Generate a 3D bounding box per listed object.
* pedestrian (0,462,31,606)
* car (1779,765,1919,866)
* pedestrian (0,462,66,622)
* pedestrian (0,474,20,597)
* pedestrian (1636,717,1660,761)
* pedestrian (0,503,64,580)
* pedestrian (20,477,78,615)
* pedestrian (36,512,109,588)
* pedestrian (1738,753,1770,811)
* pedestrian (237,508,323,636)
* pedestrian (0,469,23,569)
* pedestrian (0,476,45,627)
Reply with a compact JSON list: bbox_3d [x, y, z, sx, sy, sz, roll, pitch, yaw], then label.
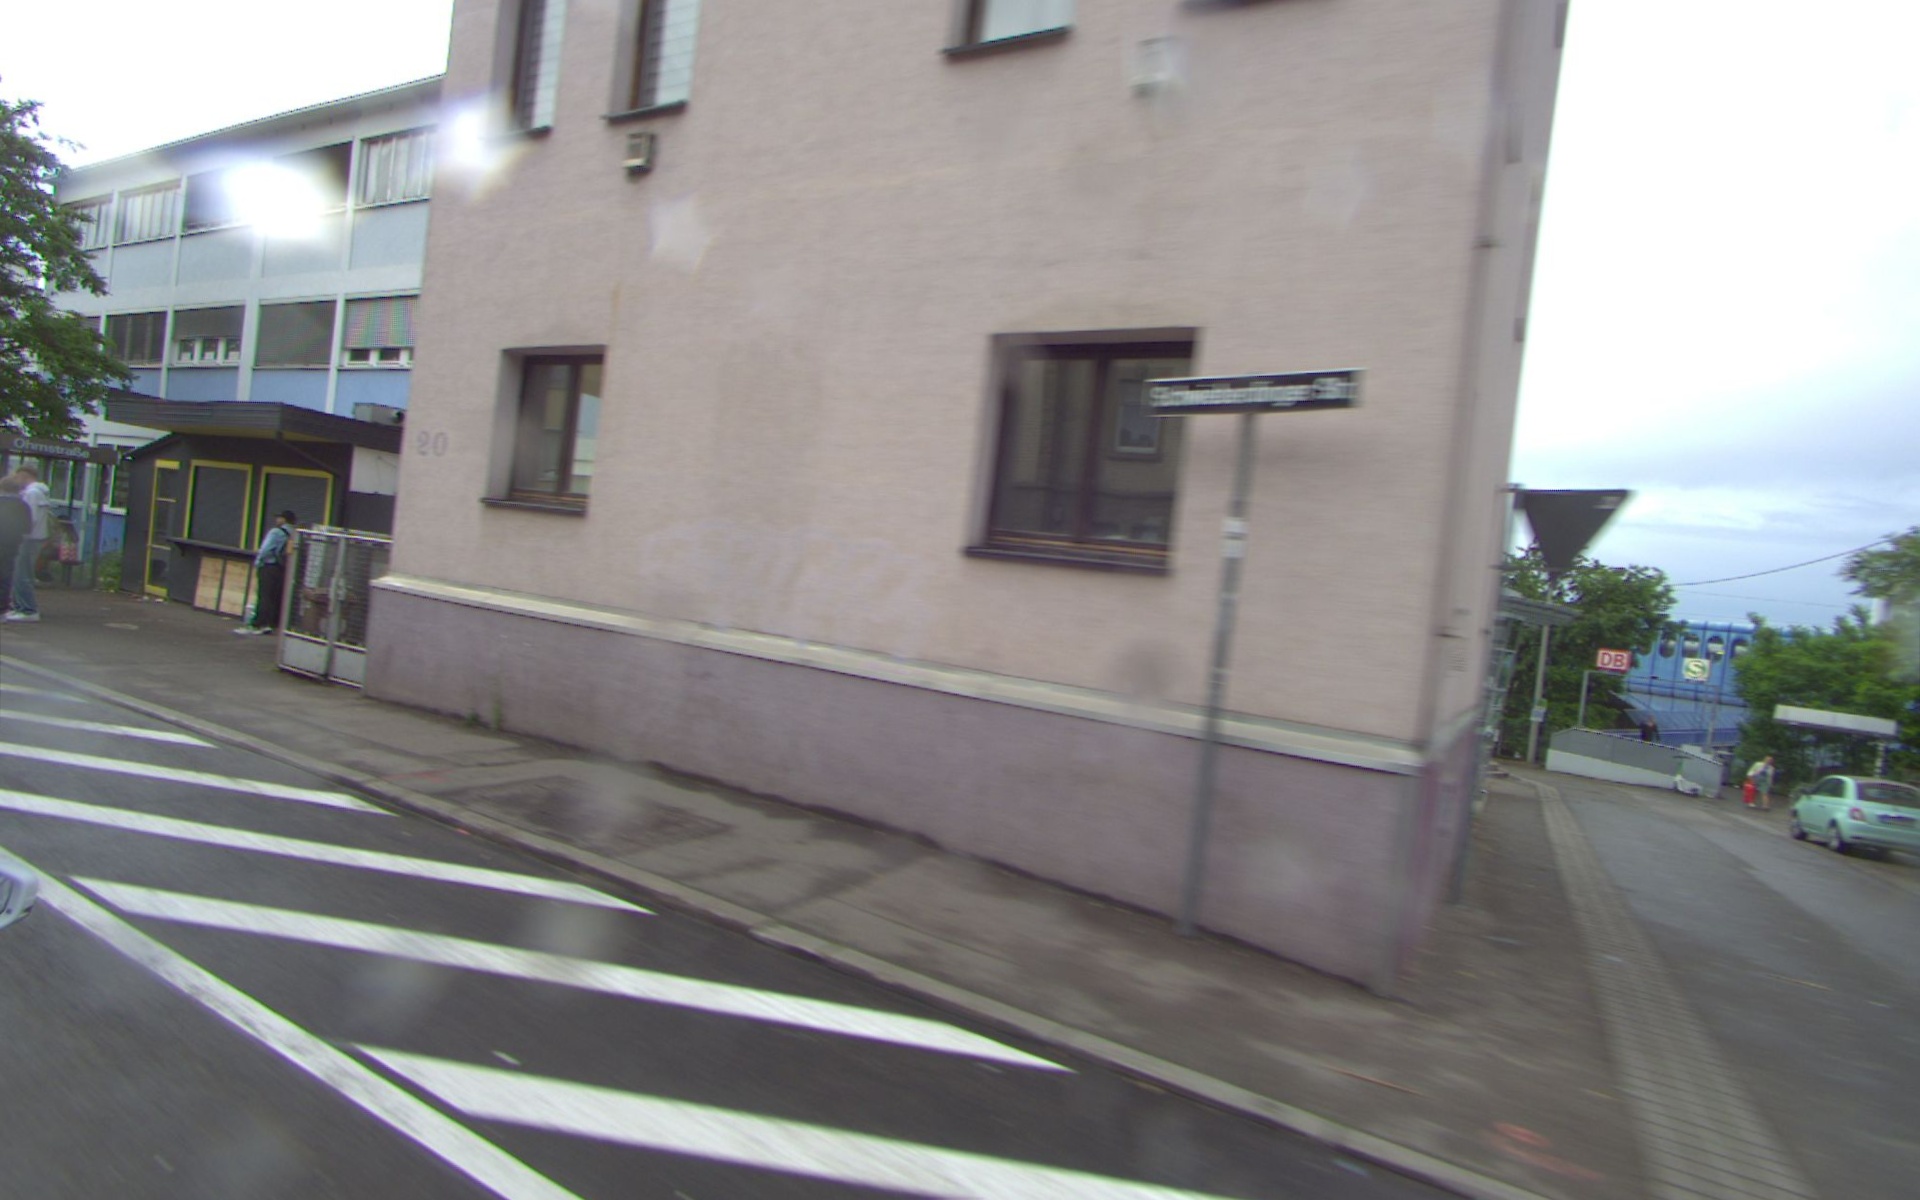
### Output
[{"bbox_3d":[-12.700,-0.882,13.249,0.594,1.866,0.459,6,3,26],"label":"pedestrian"},{"bbox_3d":[18.231,4.291,20.285,1.819,1.491,3.999,7,-3,29],"label":"car"},{"bbox_3d":[-11.429,-0.709,12.415,0.483,1.901,0.626,3,4,-37],"label":"pedestrian"},{"bbox_3d":[-14.281,-0.969,14.569,0.814,1.764,0.661,6,2,26],"label":"pedestrian"},{"bbox_3d":[25.677,5.187,37.534,0.567,1.541,0.671,7,-1,37],"label":"pedestrian"},{"bbox_3d":[-17.121,-1.070,18.028,0.728,1.290,1.357,6,1,25],"label":"pedestrian"},{"bbox_3d":[-11.774,-0.696,13.006,0.549,1.731,0.445,7,4,40],"label":"pedestrian"},{"bbox_3d":[-15.390,-0.867,17.447,0.728,1.214,0.661,6,2,26],"label":"pedestrian"},{"bbox_3d":[23.097,5.288,29.275,0.567,1.541,0.671,7,-1,37],"label":"pedestrian"},{"bbox_3d":[-9.198,-0.376,13.628,0.613,1.648,0.674,5,3,2],"label":"pedestrian"},{"bbox_3d":[-18.318,-1.552,19.009,0.729,1.855,0.647,7,2,32],"label":"pedestrian"},{"bbox_3d":[-11.384,-0.594,11.756,0.735,1.733,0.635,5,3,-3],"label":"pedestrian"}]
